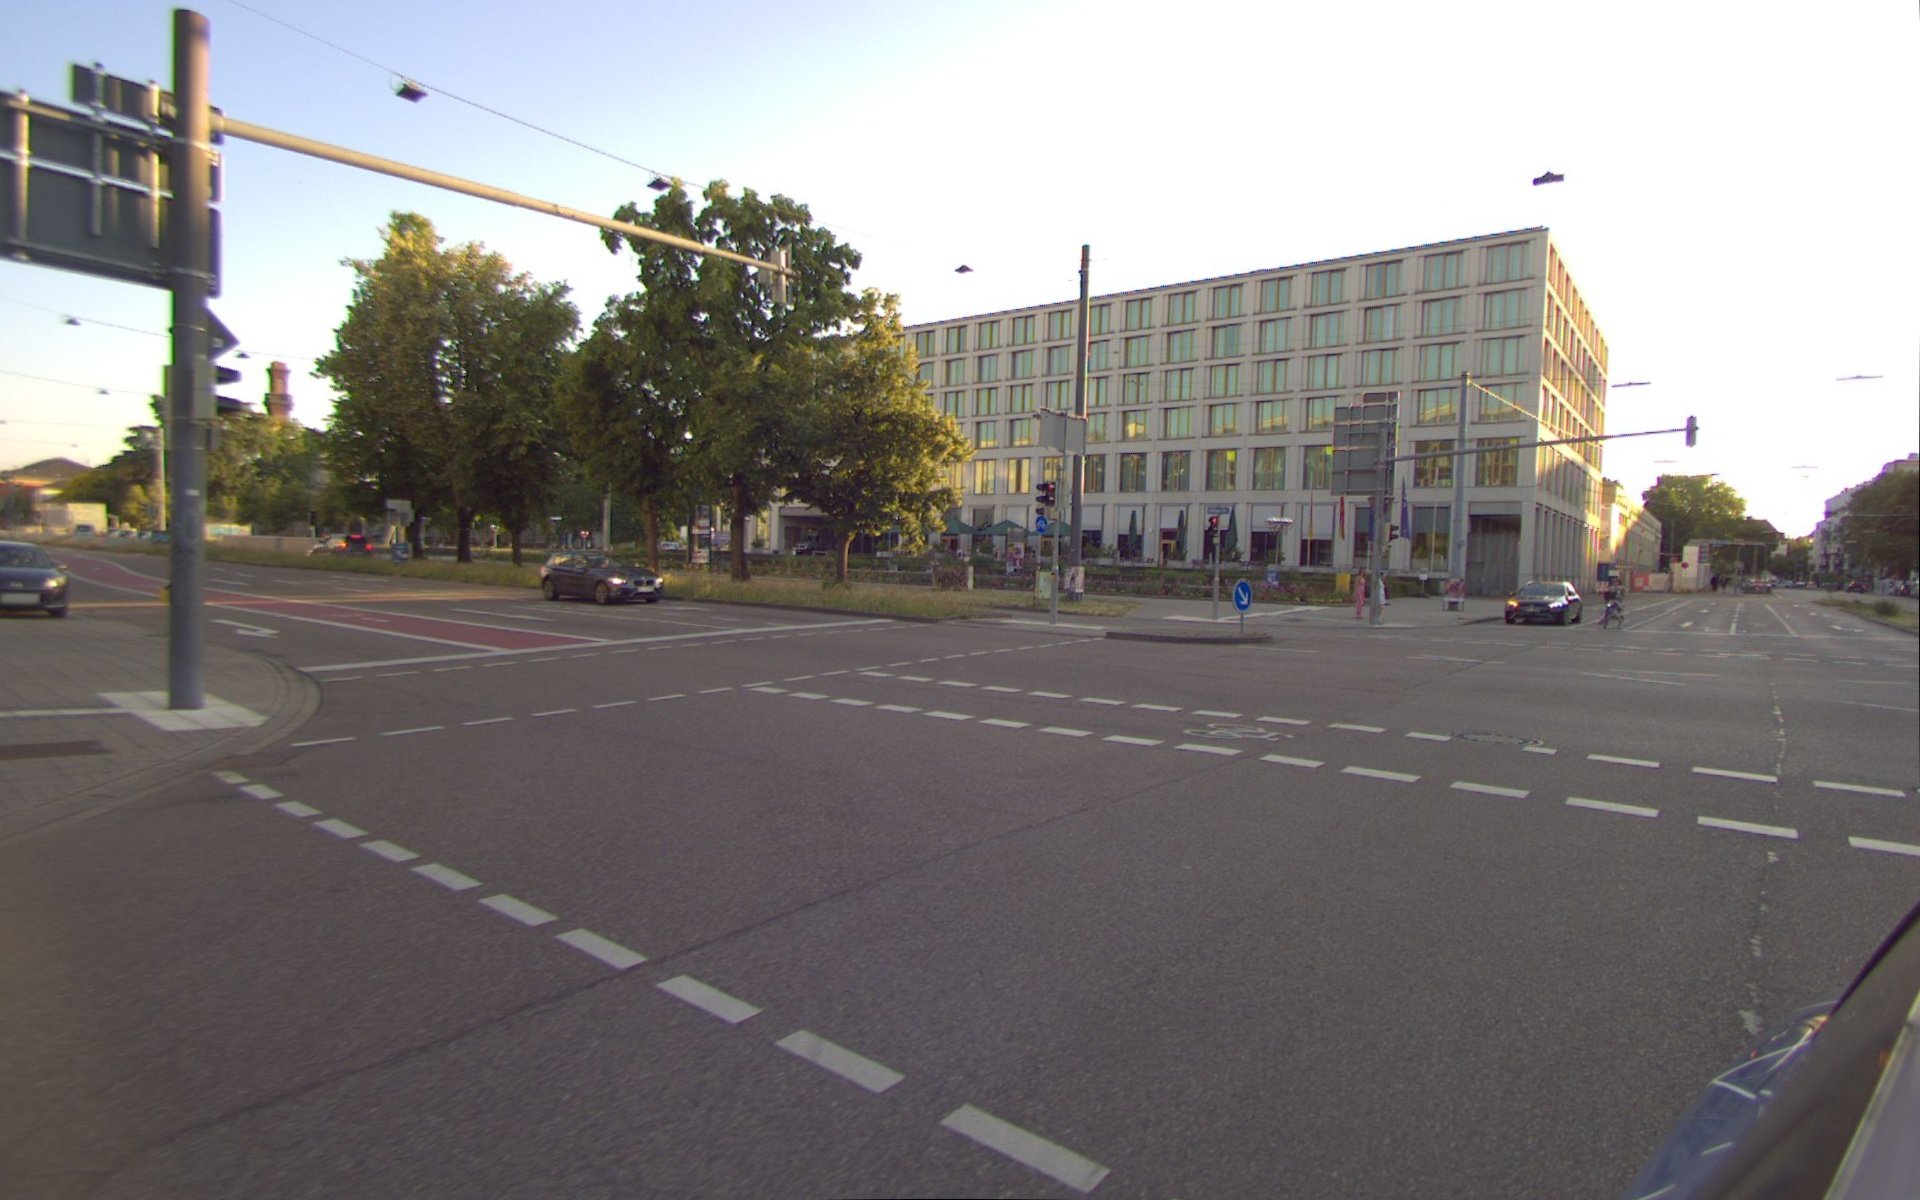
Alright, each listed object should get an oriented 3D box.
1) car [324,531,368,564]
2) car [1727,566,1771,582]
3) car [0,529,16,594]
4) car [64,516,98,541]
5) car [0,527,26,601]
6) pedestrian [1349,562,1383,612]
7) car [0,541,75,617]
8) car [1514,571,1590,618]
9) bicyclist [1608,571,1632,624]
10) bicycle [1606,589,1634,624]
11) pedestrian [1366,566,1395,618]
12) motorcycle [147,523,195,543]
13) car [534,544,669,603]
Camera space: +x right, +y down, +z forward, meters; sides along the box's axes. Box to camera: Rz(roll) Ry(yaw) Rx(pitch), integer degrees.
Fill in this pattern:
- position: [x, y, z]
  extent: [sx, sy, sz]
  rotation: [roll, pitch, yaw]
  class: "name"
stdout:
- position: [-34.784, -2.936, 57.297]
  extent: [1.666, 1.625, 4.089]
  rotation: [6, -2, -36]
  class: "car"
- position: [88.072, -2.905, 112.973]
  extent: [3.791, 1.669, 1.838]
  rotation: [4, 3, 39]
  class: "car"
- position: [-26.772, -1.123, 27.023]
  extent: [3.849, 1.686, 1.674]
  rotation: [4, -1, 39]
  class: "car"
- position: [-82.718, -6.770, 95.219]
  extent: [3.894, 2.265, 1.863]
  rotation: [4, 3, 40]
  class: "car"
- position: [-23.938, -0.949, 24.233]
  extent: [3.849, 1.686, 1.674]
  rotation: [4, -1, 39]
  class: "car"
- position: [13.589, -0.437, 33.876]
  extent: [0.711, 1.646, 0.740]
  rotation: [1, 2, -19]
  class: "pedestrian"
- position: [-19.432, -0.482, 20.437]
  extent: [3.849, 1.428, 1.675]
  rotation: [3, 1, 39]
  class: "car"
- position: [20.998, -0.236, 35.813]
  extent: [1.807, 1.541, 4.746]
  rotation: [1, 2, 37]
  class: "car"
- position: [20.966, -0.096, 32.145]
  extent: [0.539, 1.655, 0.589]
  rotation: [3, 3, 39]
  class: "bicyclist"
- position: [21.054, 0.195, 32.259]
  extent: [0.538, 1.064, 1.736]
  rotation: [3, 3, 39]
  class: "bicycle"
- position: [13.474, -0.268, 32.420]
  extent: [0.527, 1.646, 0.628]
  rotation: [0, 2, -34]
  class: "pedestrian"
- position: [-74.679, -6.297, 95.804]
  extent: [0.922, 1.776, 3.446]
  rotation: [3, 3, 41]
  class: "motorcycle"
- position: [-10.014, -0.766, 28.137]
  extent: [4.156, 1.438, 1.674]
  rotation: [4, 4, 40]
  class: "car"
